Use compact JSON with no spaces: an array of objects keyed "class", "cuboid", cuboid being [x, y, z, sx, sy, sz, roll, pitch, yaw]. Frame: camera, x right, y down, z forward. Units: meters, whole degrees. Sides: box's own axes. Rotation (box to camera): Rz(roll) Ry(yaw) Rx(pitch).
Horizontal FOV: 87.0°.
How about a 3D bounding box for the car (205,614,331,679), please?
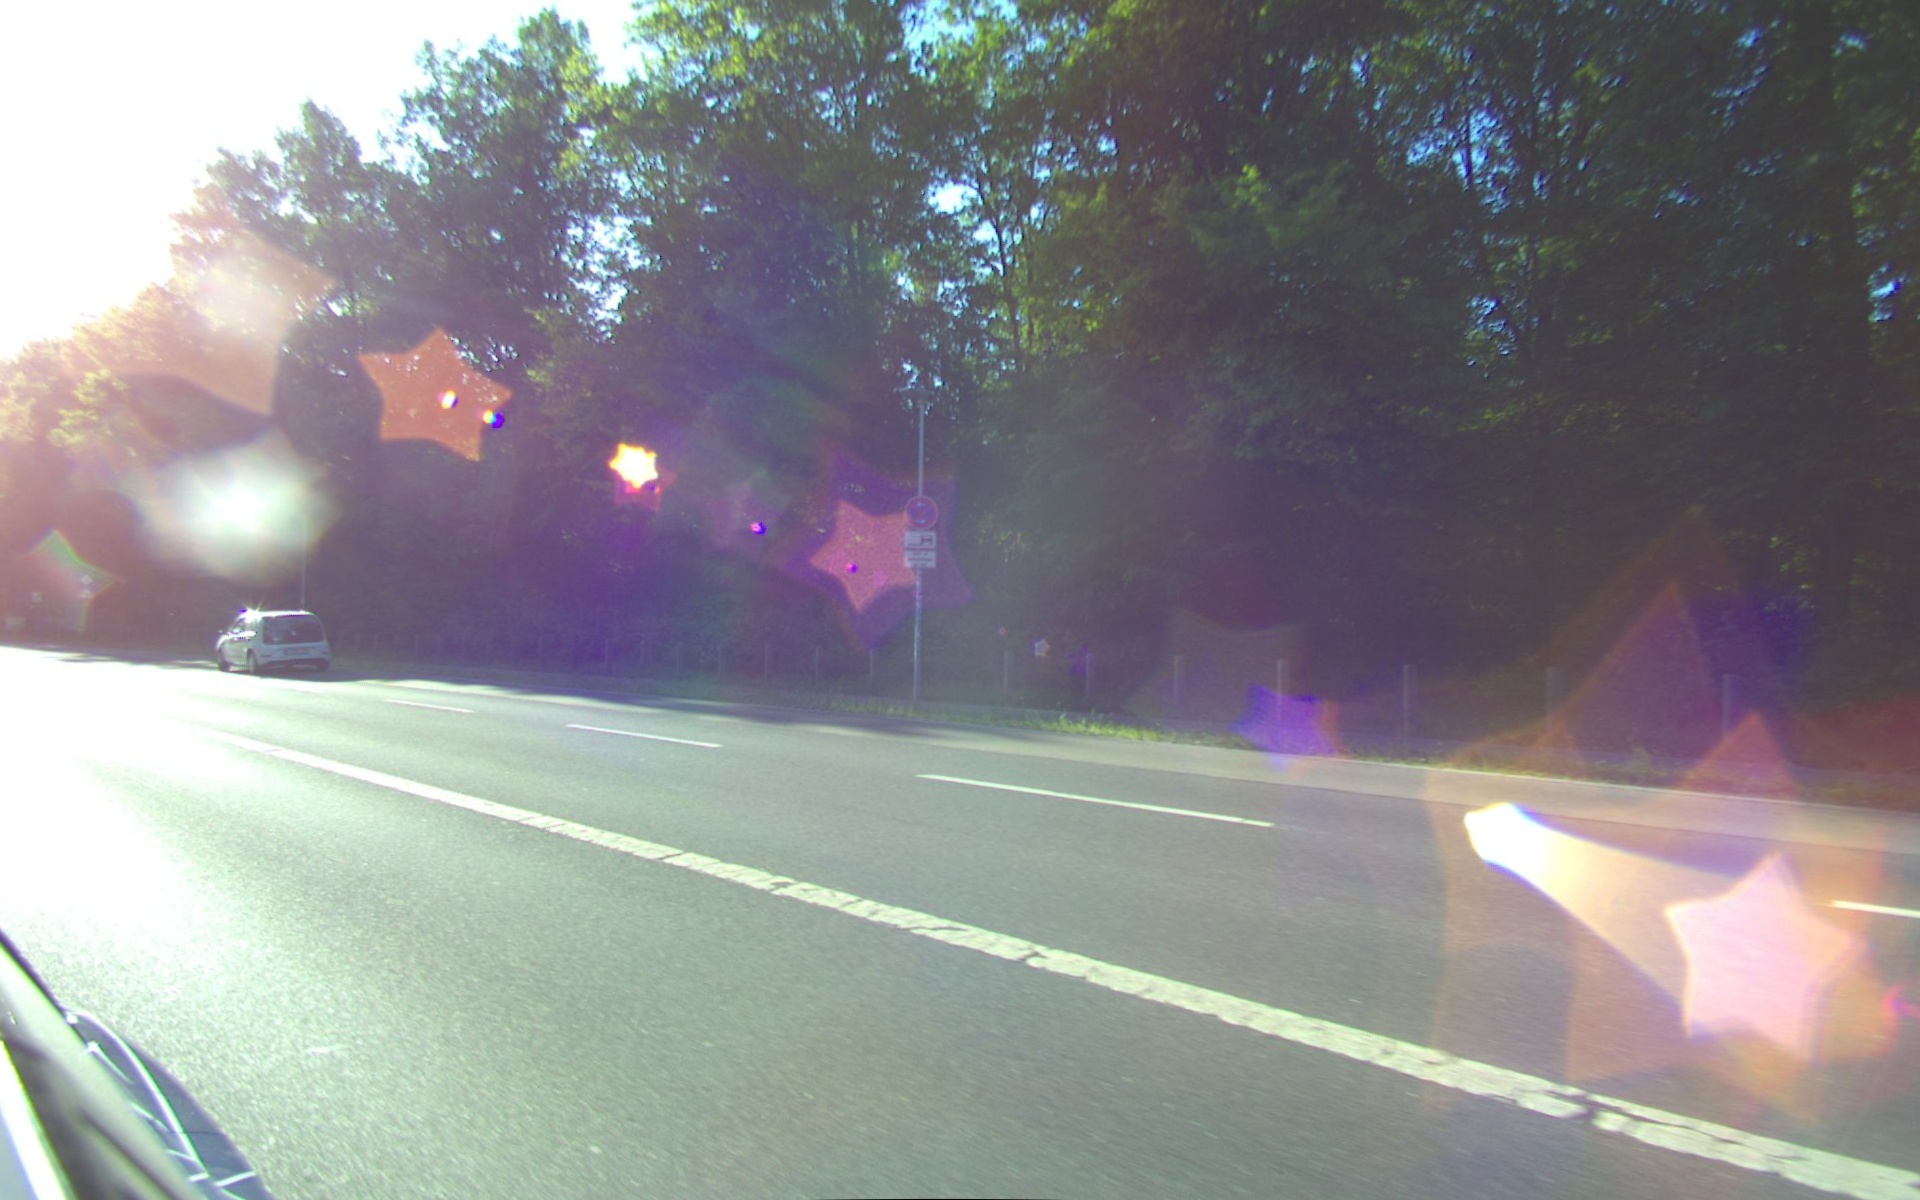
[{"class":"car","cuboid":[-17.408,1.118,25.378,4.307,1.448,1.571,-1,0,41]}]
